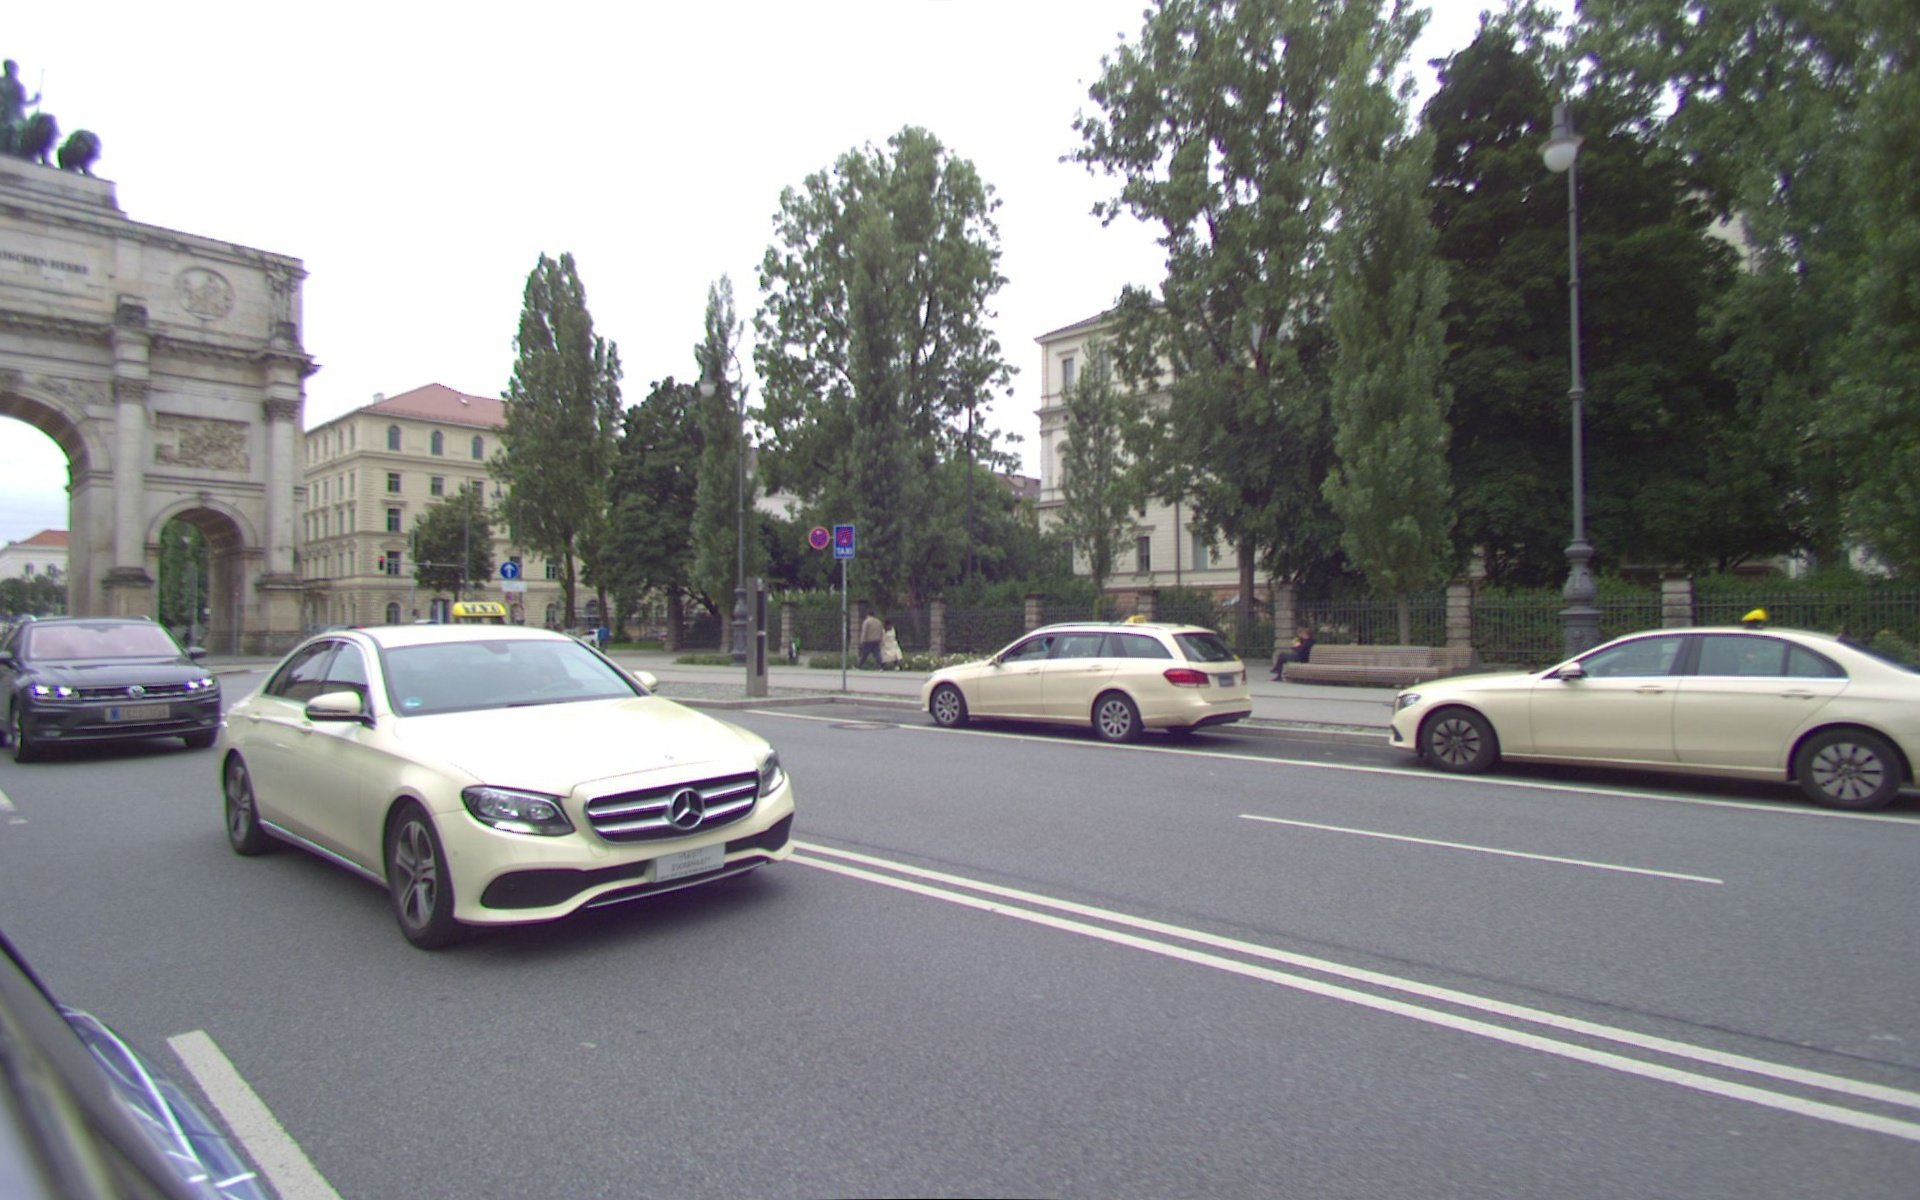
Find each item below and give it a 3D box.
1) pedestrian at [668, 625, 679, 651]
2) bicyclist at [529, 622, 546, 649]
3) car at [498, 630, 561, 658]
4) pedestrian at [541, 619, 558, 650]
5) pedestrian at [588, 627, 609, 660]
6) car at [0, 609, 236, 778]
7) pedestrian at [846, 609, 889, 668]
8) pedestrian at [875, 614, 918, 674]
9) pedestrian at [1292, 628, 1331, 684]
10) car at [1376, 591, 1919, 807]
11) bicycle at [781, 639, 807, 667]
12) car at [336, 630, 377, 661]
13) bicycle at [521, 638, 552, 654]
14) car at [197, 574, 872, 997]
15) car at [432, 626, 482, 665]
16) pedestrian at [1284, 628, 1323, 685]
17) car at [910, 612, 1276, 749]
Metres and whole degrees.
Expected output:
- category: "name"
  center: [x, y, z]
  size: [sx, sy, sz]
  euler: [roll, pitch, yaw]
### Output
- category: "pedestrian"
  center: [-22.175, 2.923, 78.359]
  size: [0.592, 2.029, 0.528]
  euler: [-2, -2, 32]
- category: "bicyclist"
  center: [-27.322, 2.322, 65.469]
  size: [0.848, 1.723, 0.644]
  euler: [-1, -2, 0]
- category: "car"
  center: [-32.902, 3.376, 77.405]
  size: [2.000, 2.029, 3.944]
  euler: [-2, -2, 42]
- category: "pedestrian"
  center: [-26.857, 2.246, 66.208]
  size: [0.747, 2.029, 0.793]
  euler: [-1, -2, 7]
- category: "pedestrian"
  center: [-20.007, 2.387, 55.967]
  size: [0.745, 1.799, 0.913]
  euler: [-1, -2, 8]
- category: "car"
  center: [-10.577, 0.980, 12.367]
  size: [4.411, 1.636, 1.927]
  euler: [-1, 0, 43]
- category: "pedestrian"
  center: [-2.687, 1.105, 29.310]
  size: [0.834, 1.691, 0.968]
  euler: [1, -2, -42]
- category: "pedestrian"
  center: [-1.876, 1.279, 29.672]
  size: [0.834, 1.691, 0.968]
  euler: [1, -2, -42]
- category: "pedestrian"
  center: [8.688, 1.376, 25.019]
  size: [0.833, 1.347, 0.574]
  euler: [-1, -2, 16]
- category: "car"
  center: [6.747, 0.783, 9.453]
  size: [4.964, 1.637, 1.916]
  euler: [-1, -2, 42]
- category: "bicycle"
  center: [-6.618, 2.104, 40.338]
  size: [0.628, 1.072, 1.736]
  euler: [-1, -2, 5]
- category: "car"
  center: [-34.879, 2.591, 58.435]
  size: [1.757, 1.684, 4.010]
  euler: [0, -2, -34]
- category: "bicycle"
  center: [-27.388, 2.992, 65.473]
  size: [1.736, 0.981, 0.644]
  euler: [-1, -2, -1]
- category: "car"
  center: [-2.846, 0.722, 6.100]
  size: [4.687, 1.587, 1.895]
  euler: [-1, 0, 42]
- category: "car"
  center: [-25.741, 2.283, 51.941]
  size: [1.971, 1.869, 5.007]
  euler: [2, -2, -23]
- category: "pedestrian"
  center: [8.299, 1.359, 24.457]
  size: [0.833, 1.347, 0.574]
  euler: [-1, -2, 16]
- category: "car"
  center: [1.661, 1.001, 13.953]
  size: [4.858, 1.571, 1.799]
  euler: [-1, -3, 42]
